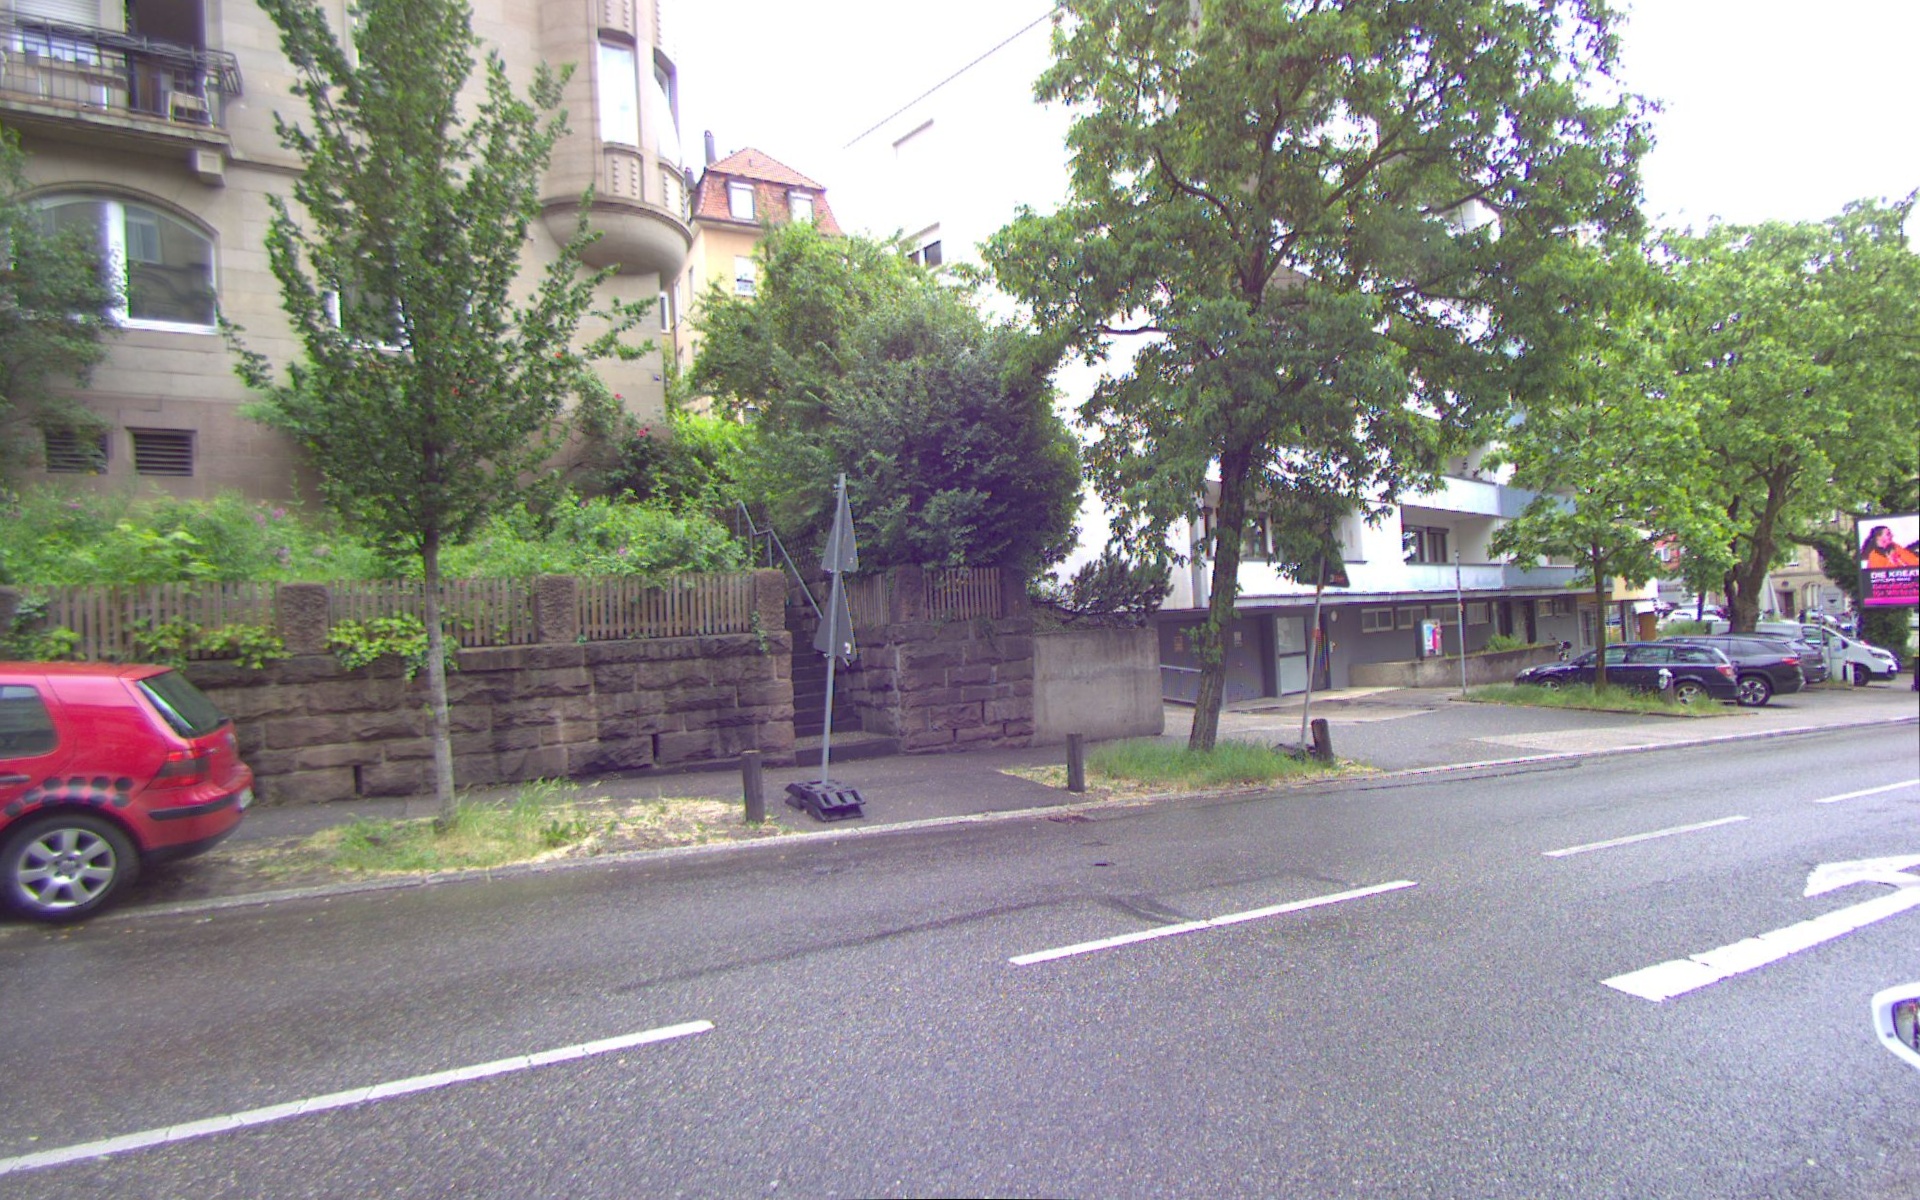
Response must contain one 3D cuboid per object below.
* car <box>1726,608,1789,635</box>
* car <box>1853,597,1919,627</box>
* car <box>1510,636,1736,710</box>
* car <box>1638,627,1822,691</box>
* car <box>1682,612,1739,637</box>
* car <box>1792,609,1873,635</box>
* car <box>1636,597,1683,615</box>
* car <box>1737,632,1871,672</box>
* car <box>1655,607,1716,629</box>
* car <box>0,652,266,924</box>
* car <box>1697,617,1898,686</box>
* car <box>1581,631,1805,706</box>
[{"bbox_3d":[68.835,1.836,86.766,1.961,2.130,4.291,-1,1,-1],"label":"car"},{"bbox_3d":[69.363,0.882,74.753,1.961,2.130,4.291,-1,1,-1],"label":"car"},{"bbox_3d":[15.631,1.698,23.794,4.303,1.594,1.935,-3,-4,38],"label":"car"},{"bbox_3d":[23.275,1.753,30.502,4.305,1.807,1.931,-2,-3,40],"label":"car"},{"bbox_3d":[68.793,2.213,92.133,1.961,2.130,4.291,-1,1,-1],"label":"car"},{"bbox_3d":[60.465,1.495,69.682,1.960,1.749,4.250,-1,0,1],"label":"car"},{"bbox_3d":[68.680,0.614,98.674,1.694,1.711,3.999,2,0,-2],"label":"car"},{"bbox_3d":[32.918,2.017,39.303,3.925,1.469,1.761,-2,-3,40],"label":"car"},{"bbox_3d":[60.357,1.481,83.650,1.961,1.749,4.249,-2,-1,-1],"label":"car"},{"bbox_3d":[-6.559,1.072,5.818,4.015,1.470,1.606,1,-2,-30],"label":"car"},{"bbox_3d":[27.732,1.691,33.473,5.000,2.132,1.983,-2,-3,40],"label":"car"},{"bbox_3d":[18.122,1.689,25.008,4.312,1.694,1.848,-3,-4,38],"label":"car"}]
